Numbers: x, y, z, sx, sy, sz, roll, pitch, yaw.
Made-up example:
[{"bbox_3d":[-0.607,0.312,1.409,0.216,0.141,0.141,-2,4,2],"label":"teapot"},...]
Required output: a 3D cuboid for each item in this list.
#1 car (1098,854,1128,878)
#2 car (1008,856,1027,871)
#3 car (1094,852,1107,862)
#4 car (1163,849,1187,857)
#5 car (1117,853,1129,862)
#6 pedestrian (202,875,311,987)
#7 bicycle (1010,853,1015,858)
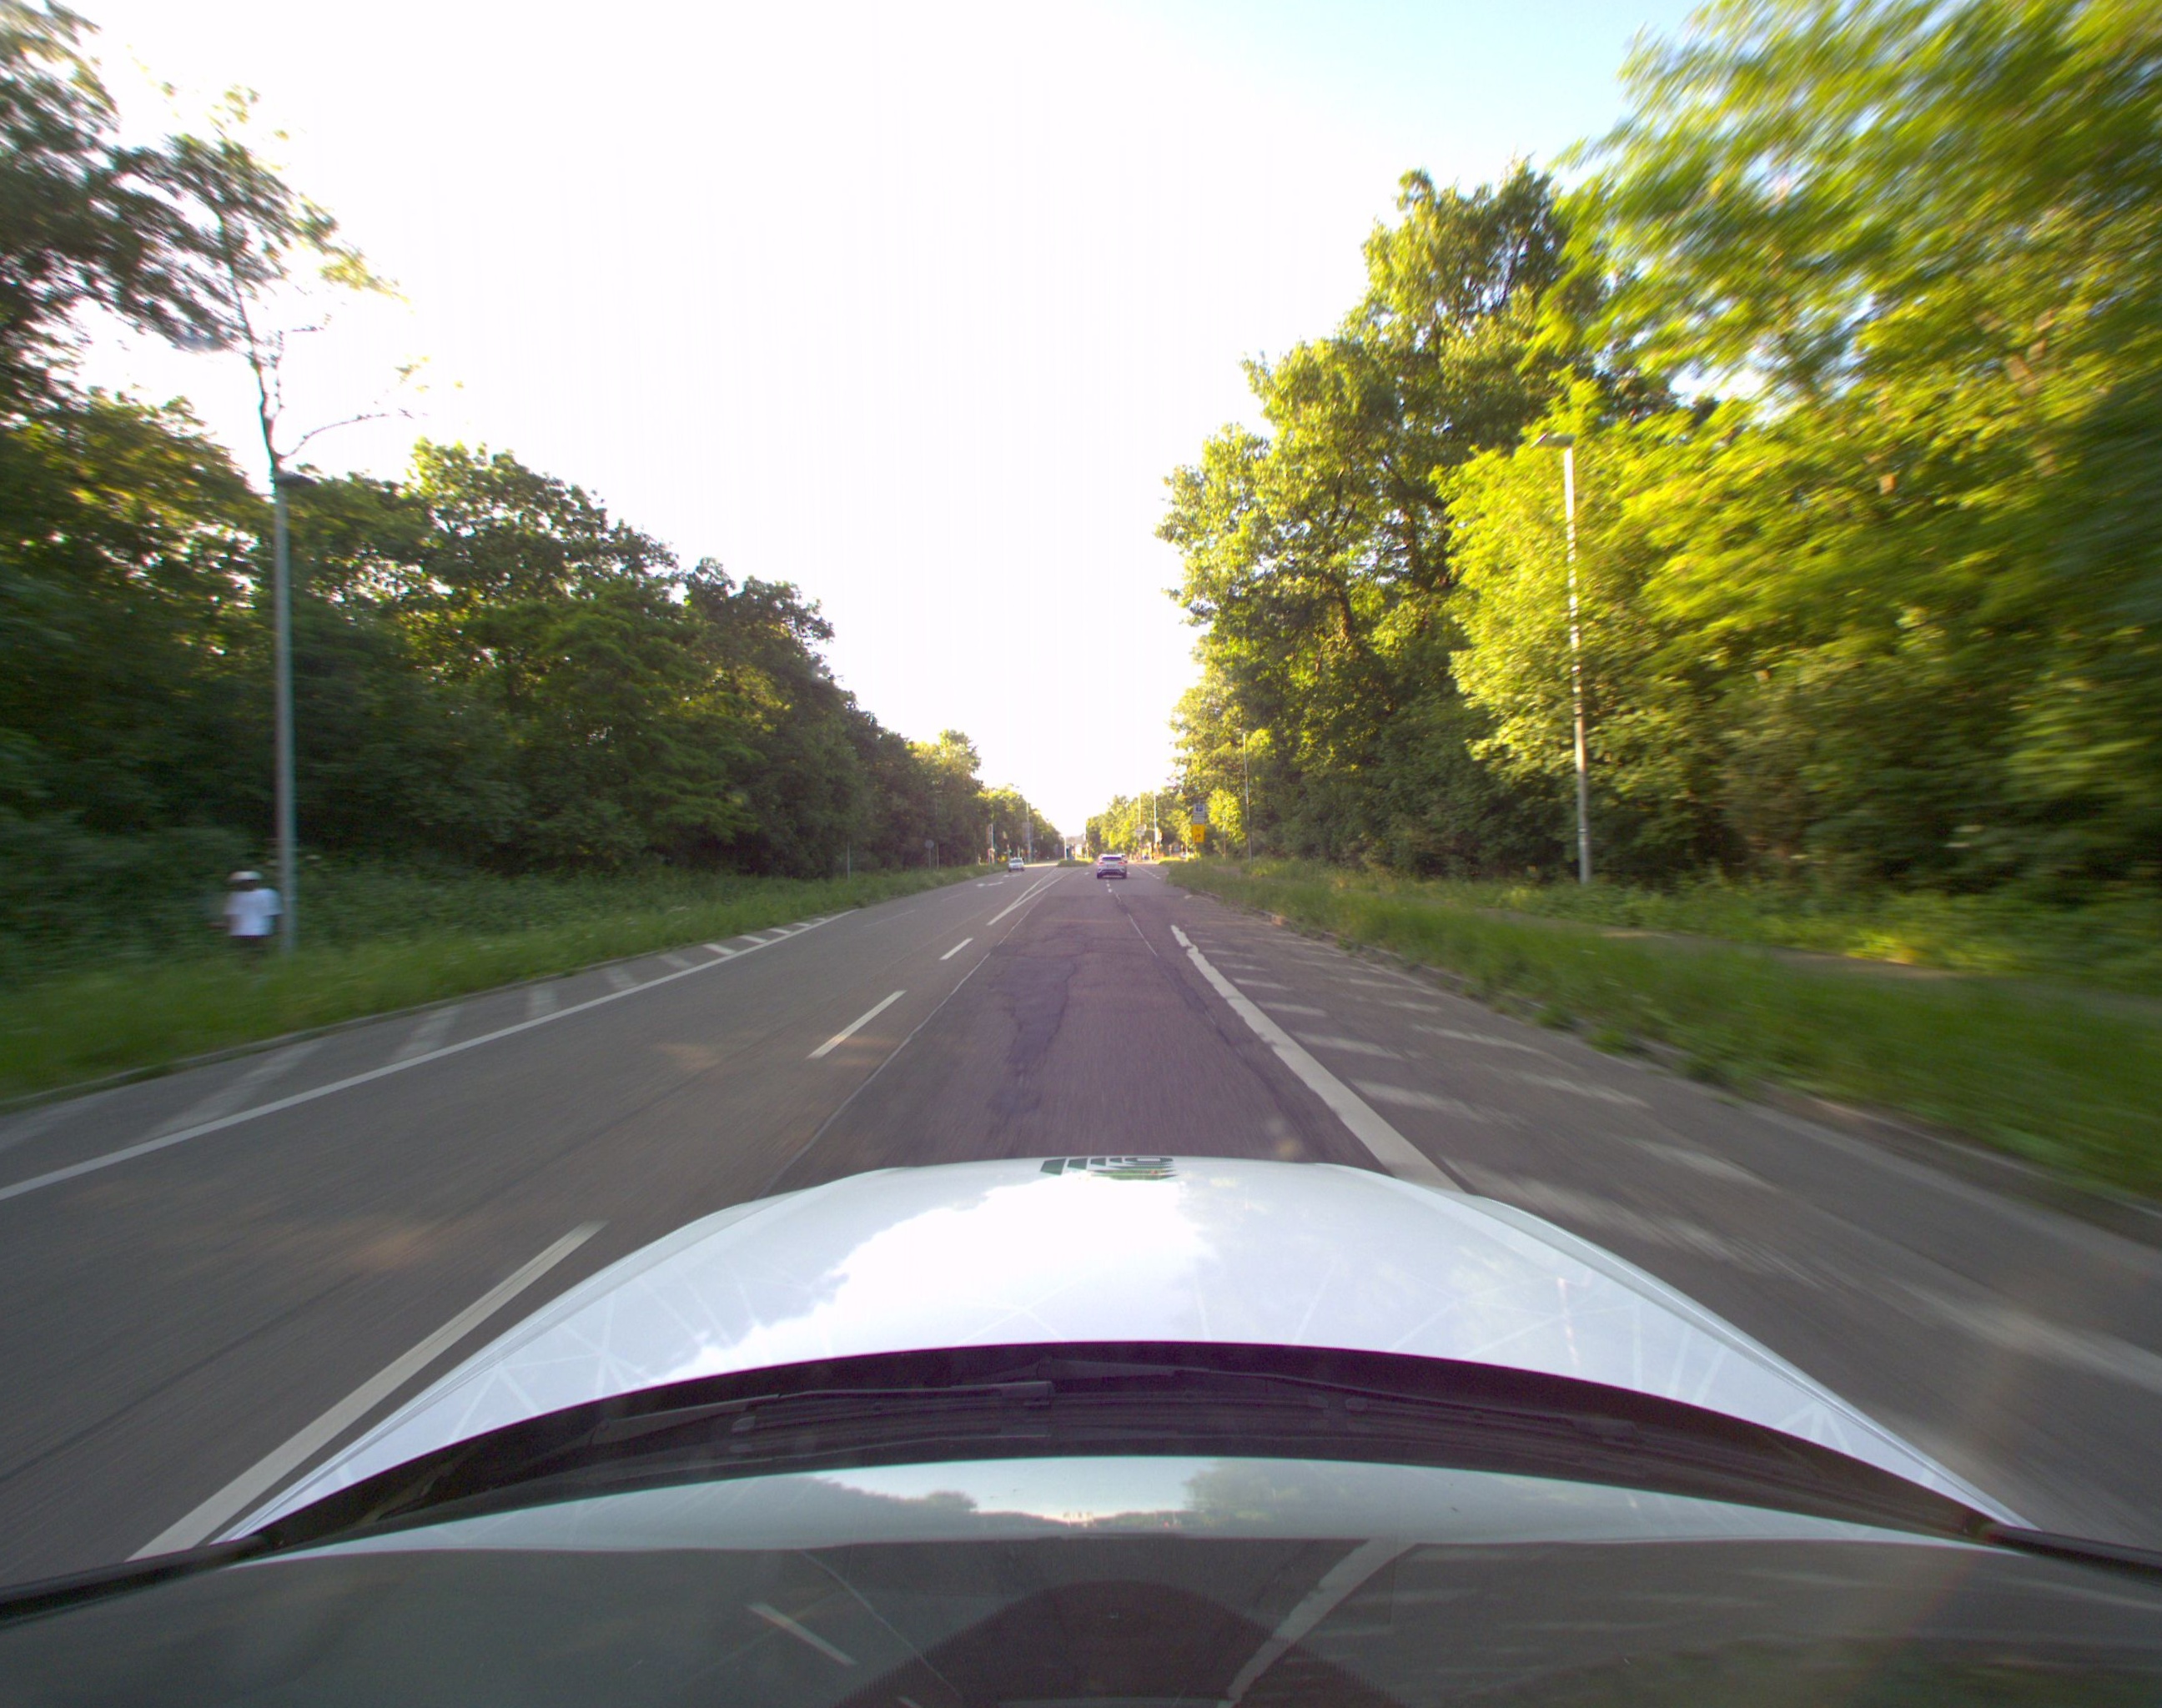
[{"bbox_3d":[2.026,0.746,51.830,1.856,1.444,4.002,-1,0,2],"label":"car"},{"bbox_3d":[-7.092,1.005,91.212,1.824,1.455,4.477,-4,1,-2],"label":"car"},{"bbox_3d":[3.470,0.446,142.196,1.988,1.684,3.997,-2,0,-2],"label":"car"},{"bbox_3d":[20.491,-0.302,177.362,4.834,1.580,1.987,-2,0,-20],"label":"car"},{"bbox_3d":[6.943,0.577,134.360,1.932,1.414,4.003,-2,0,3],"label":"car"},{"bbox_3d":[-12.265,1.121,12.142,0.708,1.565,0.826,-3,0,2],"label":"pedestrian"},{"bbox_3d":[-14.170,0.339,168.909,0.711,0.914,1.914,-2,1,5],"label":"bicycle"}]
